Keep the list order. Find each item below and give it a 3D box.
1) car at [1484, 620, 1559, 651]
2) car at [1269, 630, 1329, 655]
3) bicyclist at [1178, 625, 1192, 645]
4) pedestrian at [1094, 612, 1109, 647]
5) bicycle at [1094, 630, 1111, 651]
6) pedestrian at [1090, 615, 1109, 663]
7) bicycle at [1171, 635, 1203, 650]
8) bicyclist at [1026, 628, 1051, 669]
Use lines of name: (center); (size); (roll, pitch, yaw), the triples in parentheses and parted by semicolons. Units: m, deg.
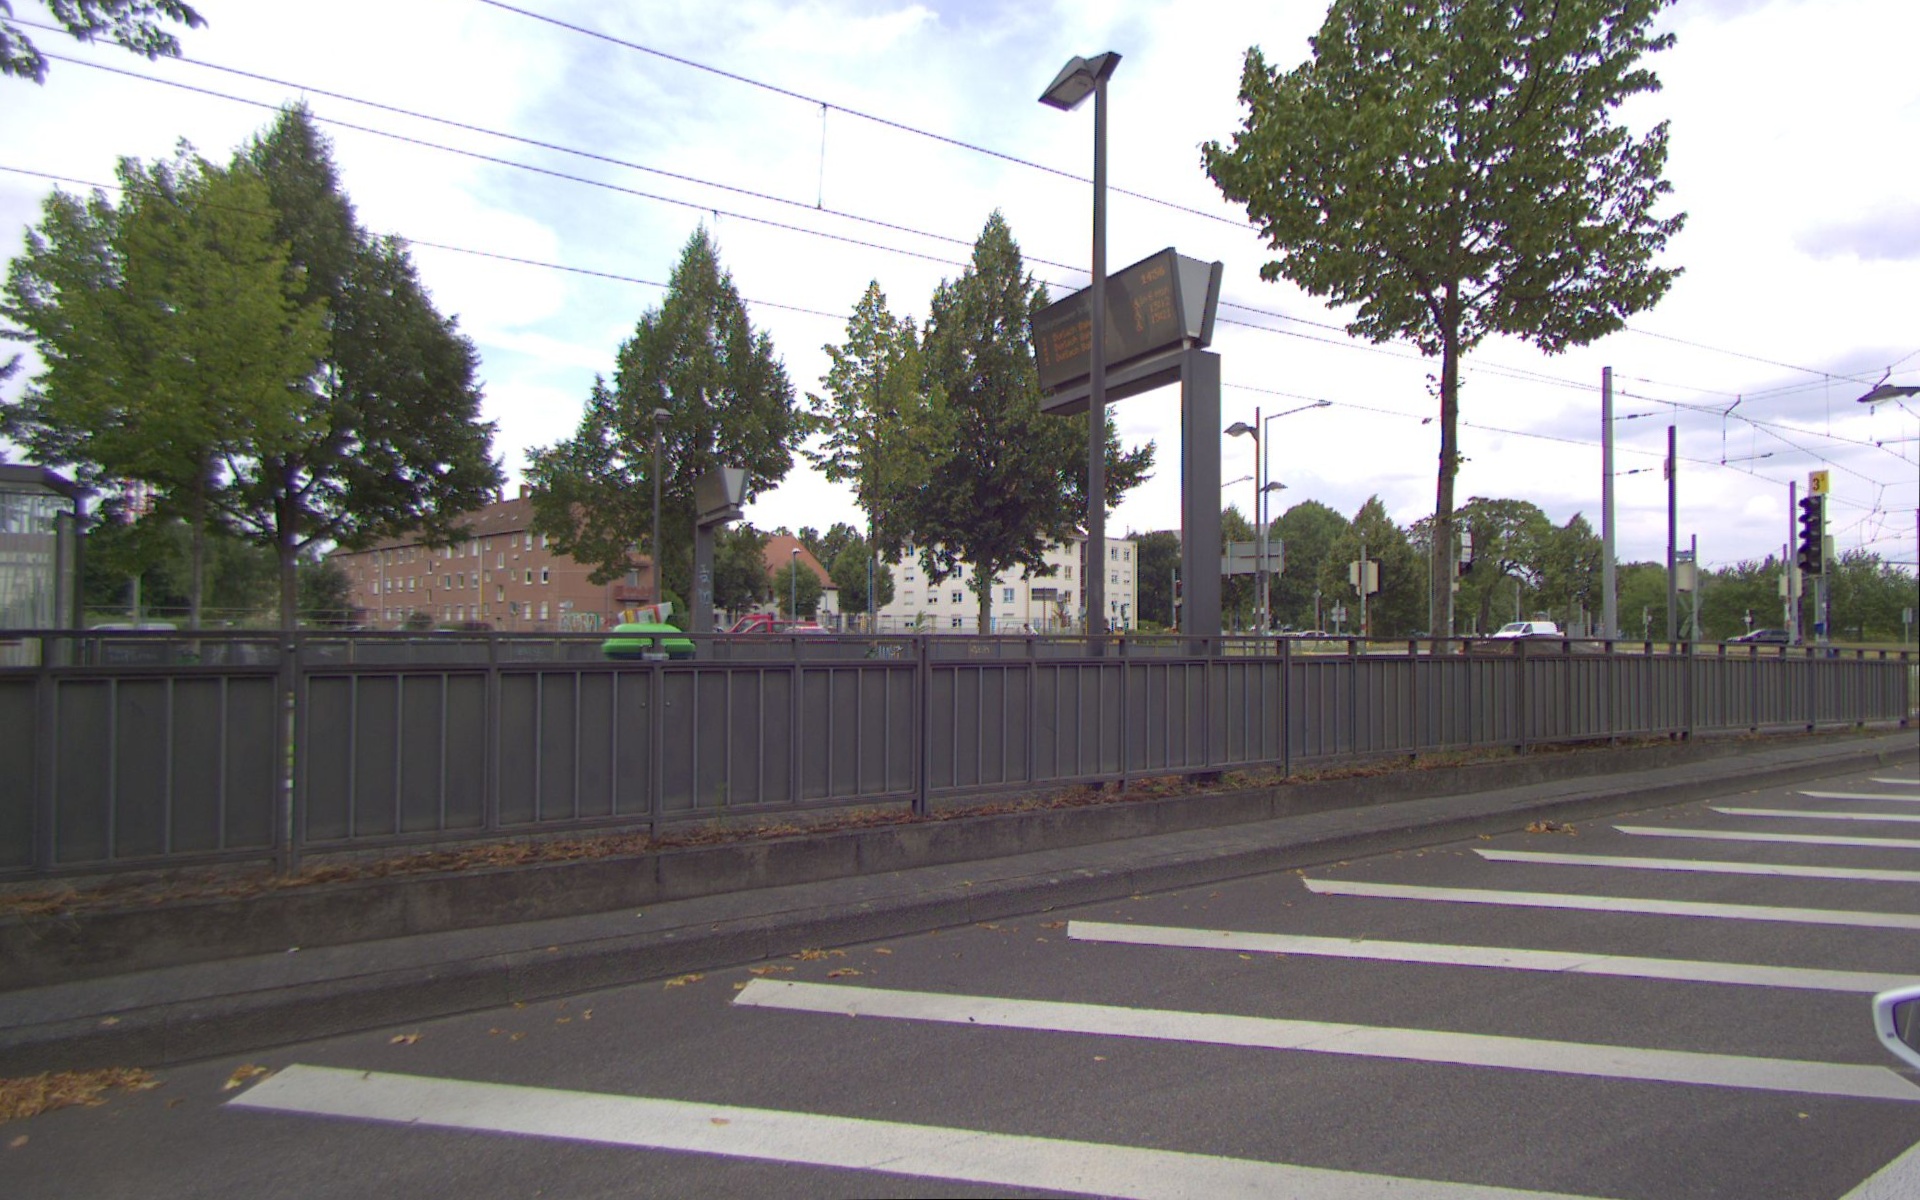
car: (38.843, 2.418, 69.483); (4.930, 2.040, 1.988); (1, -1, -24)
car: (26.134, 3.277, 77.481); (3.920, 1.663, 2.000); (2, 1, 2)
bicyclist: (18.141, 2.786, 80.946); (0.882, 1.583, 0.744); (1, -1, -33)
pedestrian: (8.478, 1.752, 59.992); (0.783, 2.040, 0.910); (0, -1, 16)
bicycle: (8.496, 2.394, 59.960); (0.600, 1.151, 2.566); (2, 0, 16)
pedestrian: (5.589, 1.560, 40.194); (0.636, 1.874, 0.492); (0, -1, 21)
bicycle: (18.250, 3.440, 80.822); (0.800, 1.144, 2.684); (1, -1, -32)
bicyclist: (3.526, 2.168, 45.160); (0.818, 1.859, 0.780); (-1, -1, 39)
